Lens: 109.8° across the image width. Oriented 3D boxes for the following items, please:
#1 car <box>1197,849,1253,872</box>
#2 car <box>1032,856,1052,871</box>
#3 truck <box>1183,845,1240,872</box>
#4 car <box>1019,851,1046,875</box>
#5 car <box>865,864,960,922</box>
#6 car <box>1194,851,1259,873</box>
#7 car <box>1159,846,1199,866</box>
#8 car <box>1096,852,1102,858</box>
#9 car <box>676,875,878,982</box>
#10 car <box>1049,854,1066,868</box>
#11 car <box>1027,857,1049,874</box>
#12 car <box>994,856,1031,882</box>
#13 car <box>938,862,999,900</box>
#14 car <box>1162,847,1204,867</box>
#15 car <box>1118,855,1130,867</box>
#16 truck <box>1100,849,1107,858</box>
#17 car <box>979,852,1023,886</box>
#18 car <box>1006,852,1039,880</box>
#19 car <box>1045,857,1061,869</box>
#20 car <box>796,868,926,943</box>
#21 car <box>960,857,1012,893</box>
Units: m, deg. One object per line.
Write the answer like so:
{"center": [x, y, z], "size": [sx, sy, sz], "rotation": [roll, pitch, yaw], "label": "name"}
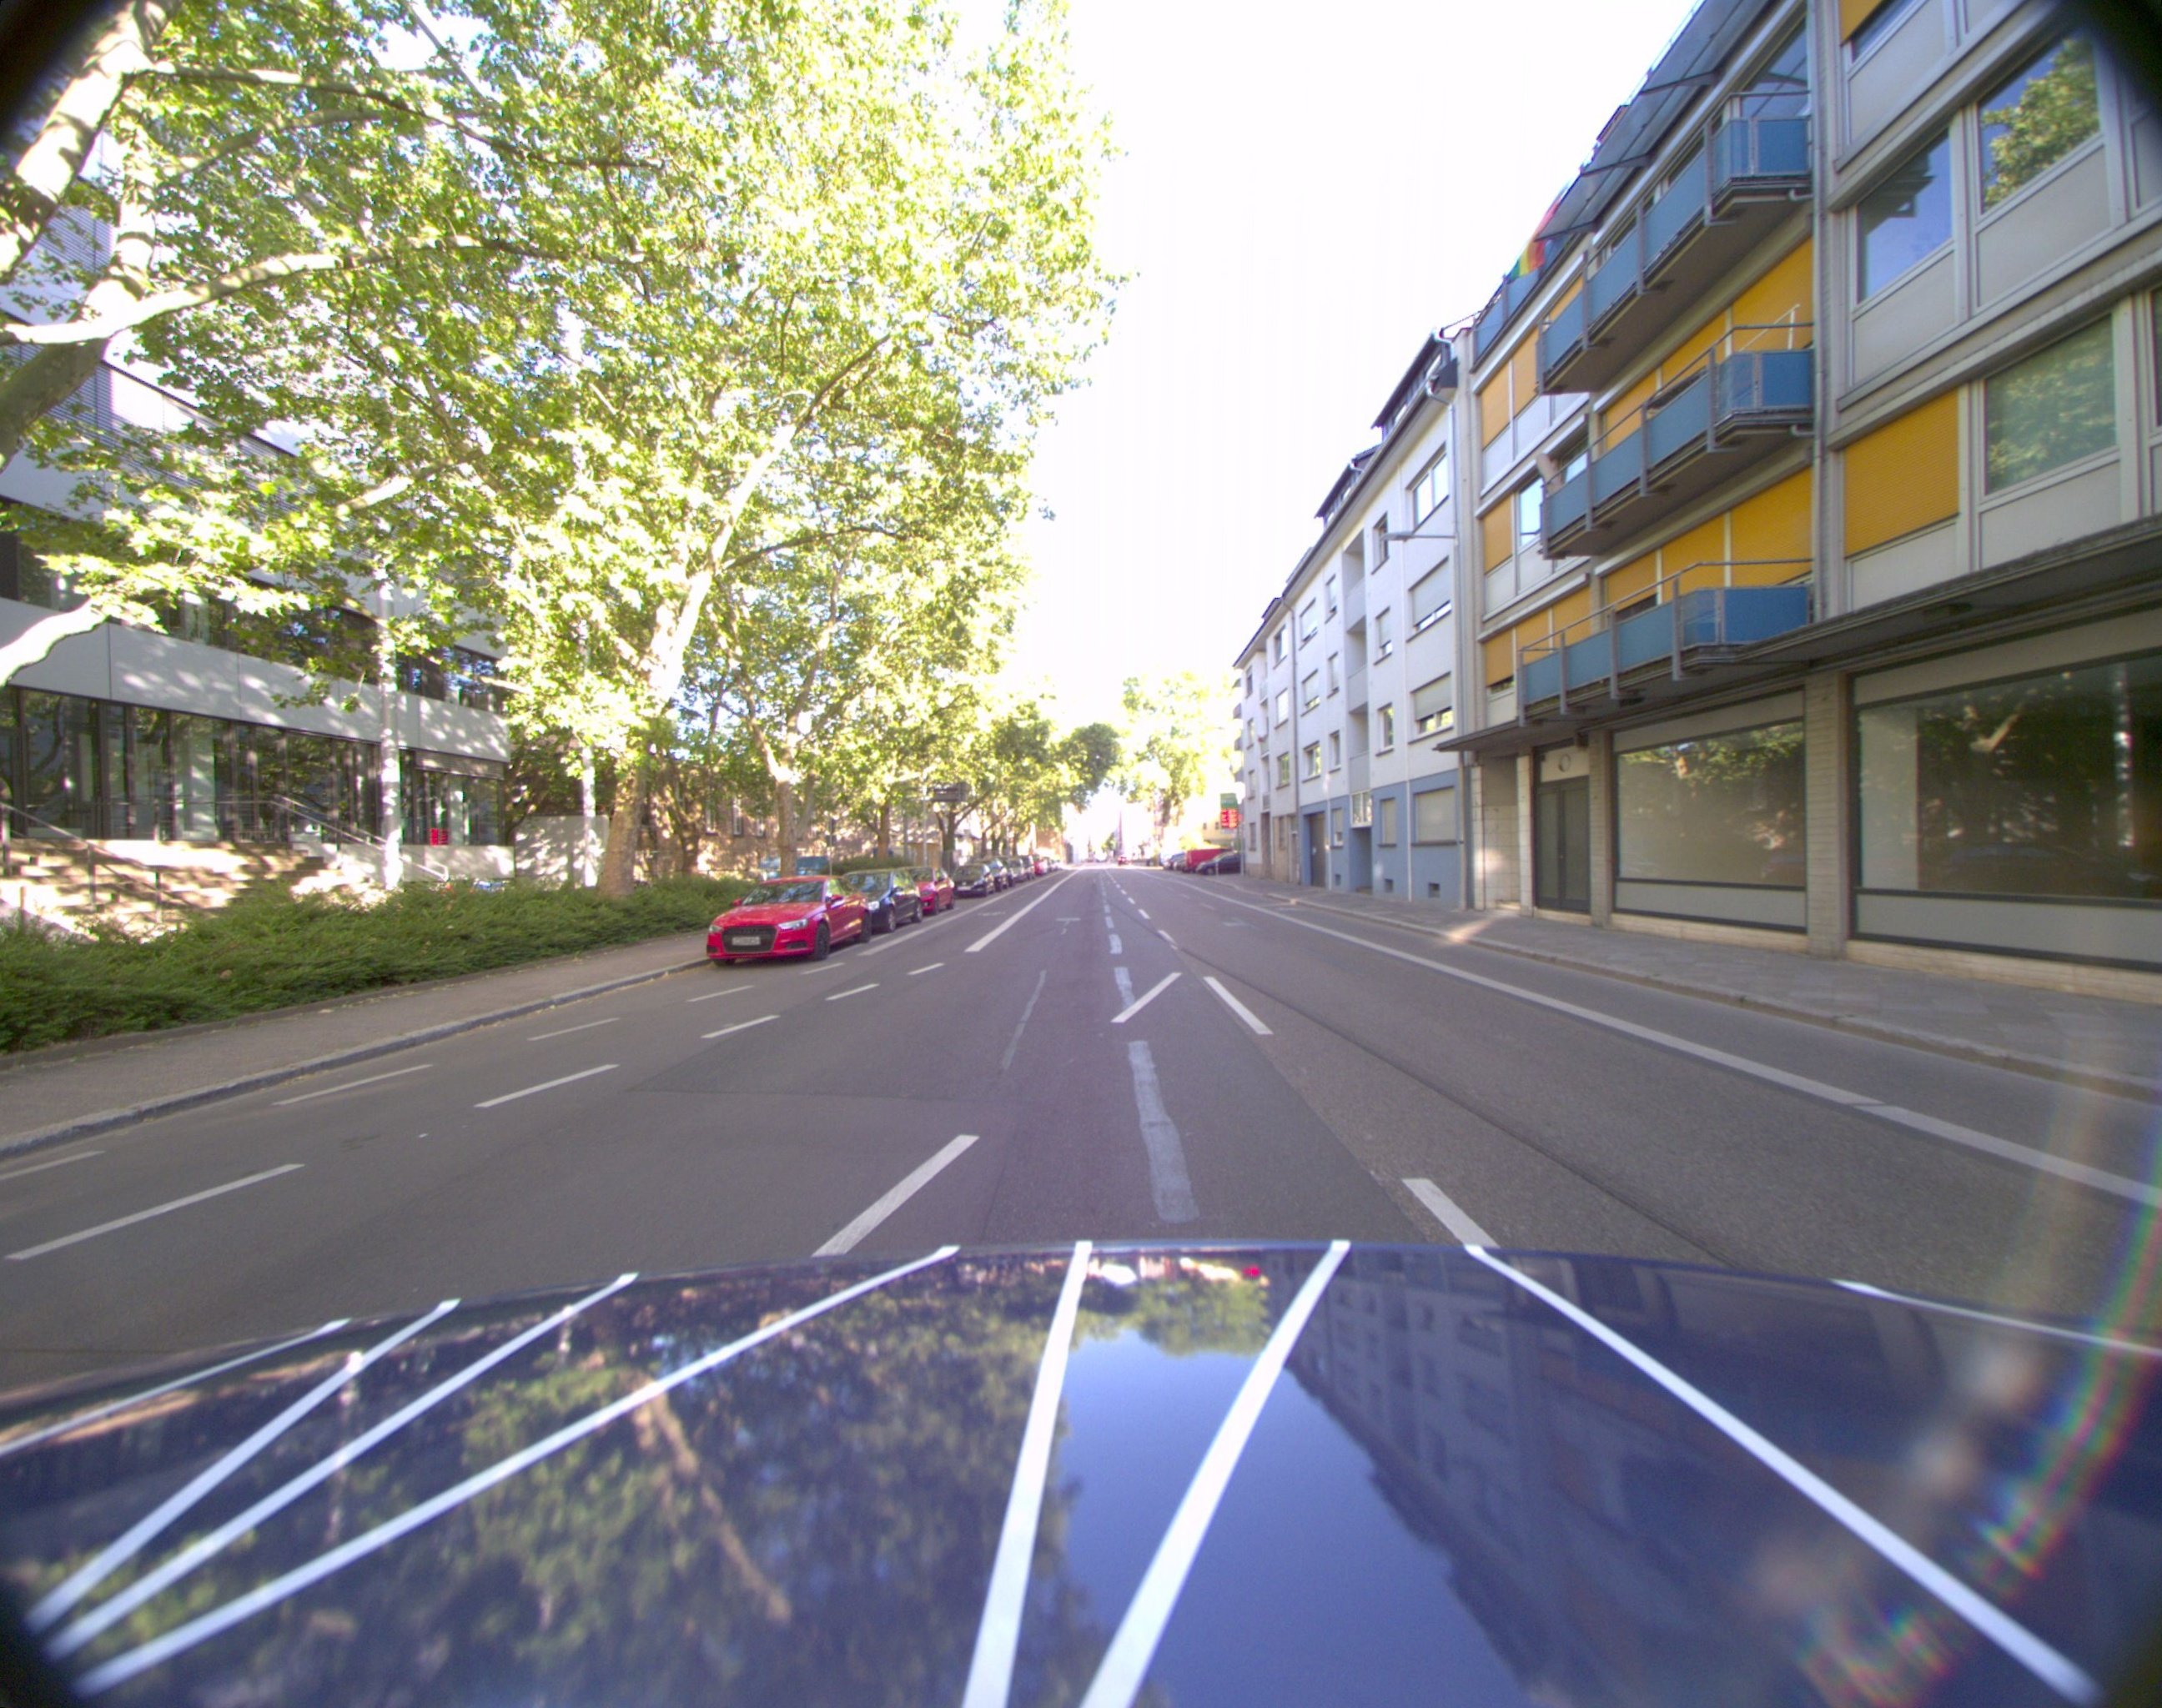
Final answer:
{"center": [10.802, 0.455, 57.112], "size": [3.810, 1.563, 1.658], "rotation": [-2, 1, 0], "label": "car"}
{"center": [-4.137, 0.989, 80.746], "size": [1.824, 1.466, 3.999], "rotation": [-2, 1, 1], "label": "car"}
{"center": [10.288, 0.324, 60.211], "size": [4.092, 1.913, 2.000], "rotation": [-2, 1, 0], "label": "truck"}
{"center": [-4.222, 0.754, 66.357], "size": [1.998, 1.960, 3.999], "rotation": [-2, 1, 1], "label": "car"}
{"center": [-5.128, 1.148, 23.668], "size": [1.998, 1.490, 3.828], "rotation": [-2, 1, 1], "label": "car"}
{"center": [10.456, 0.576, 54.780], "size": [4.324, 1.398, 1.658], "rotation": [-2, 1, 0], "label": "car"}
{"center": [10.950, 0.223, 85.311], "size": [4.236, 2.025, 2.000], "rotation": [-2, 1, 3], "label": "car"}
{"center": [6.168, 0.203, 259.452], "size": [1.998, 2.002, 3.999], "rotation": [-2, 1, 1], "label": "car"}
{"center": [-5.187, 1.195, 13.635], "size": [1.907, 1.417, 3.999], "rotation": [-2, 1, 1], "label": "car"}
{"center": [-3.184, 0.910, 103.006], "size": [1.998, 1.682, 3.999], "rotation": [-2, 1, 1], "label": "car"}
{"center": [-4.036, 1.083, 71.994], "size": [1.824, 1.466, 3.999], "rotation": [-2, 1, 1], "label": "car"}
{"center": [-4.551, 0.947, 50.890], "size": [1.998, 1.557, 4.142], "rotation": [-2, 1, 1], "label": "car"}
{"center": [-4.838, 1.130, 33.176], "size": [1.998, 1.447, 3.589], "rotation": [-2, 1, 1], "label": "car"}
{"center": [10.864, 0.289, 80.910], "size": [4.236, 1.945, 2.000], "rotation": [-2, 1, 3], "label": "car"}
{"center": [6.550, 1.019, 115.829], "size": [1.847, 1.668, 4.000], "rotation": [-1, 1, 3], "label": "car"}
{"center": [6.880, -0.285, 233.821], "size": [1.998, 2.653, 5.314], "rotation": [-2, 1, 0], "label": "truck"}
{"center": [-4.607, 0.839, 44.514], "size": [1.998, 1.777, 4.572], "rotation": [-2, 1, 1], "label": "car"}
{"center": [-4.247, 0.845, 55.612], "size": [1.998, 1.838, 3.999], "rotation": [-2, 1, 1], "label": "car"}
{"center": [-3.346, 1.073, 92.735], "size": [1.693, 1.364, 3.999], "rotation": [-2, 1, 1], "label": "car"}
{"center": [-5.171, 1.166, 18.414], "size": [1.998, 1.452, 3.644], "rotation": [-2, 1, 1], "label": "car"}
{"center": [-4.684, 1.005, 38.119], "size": [1.998, 1.592, 4.142], "rotation": [-2, 1, 1], "label": "car"}
